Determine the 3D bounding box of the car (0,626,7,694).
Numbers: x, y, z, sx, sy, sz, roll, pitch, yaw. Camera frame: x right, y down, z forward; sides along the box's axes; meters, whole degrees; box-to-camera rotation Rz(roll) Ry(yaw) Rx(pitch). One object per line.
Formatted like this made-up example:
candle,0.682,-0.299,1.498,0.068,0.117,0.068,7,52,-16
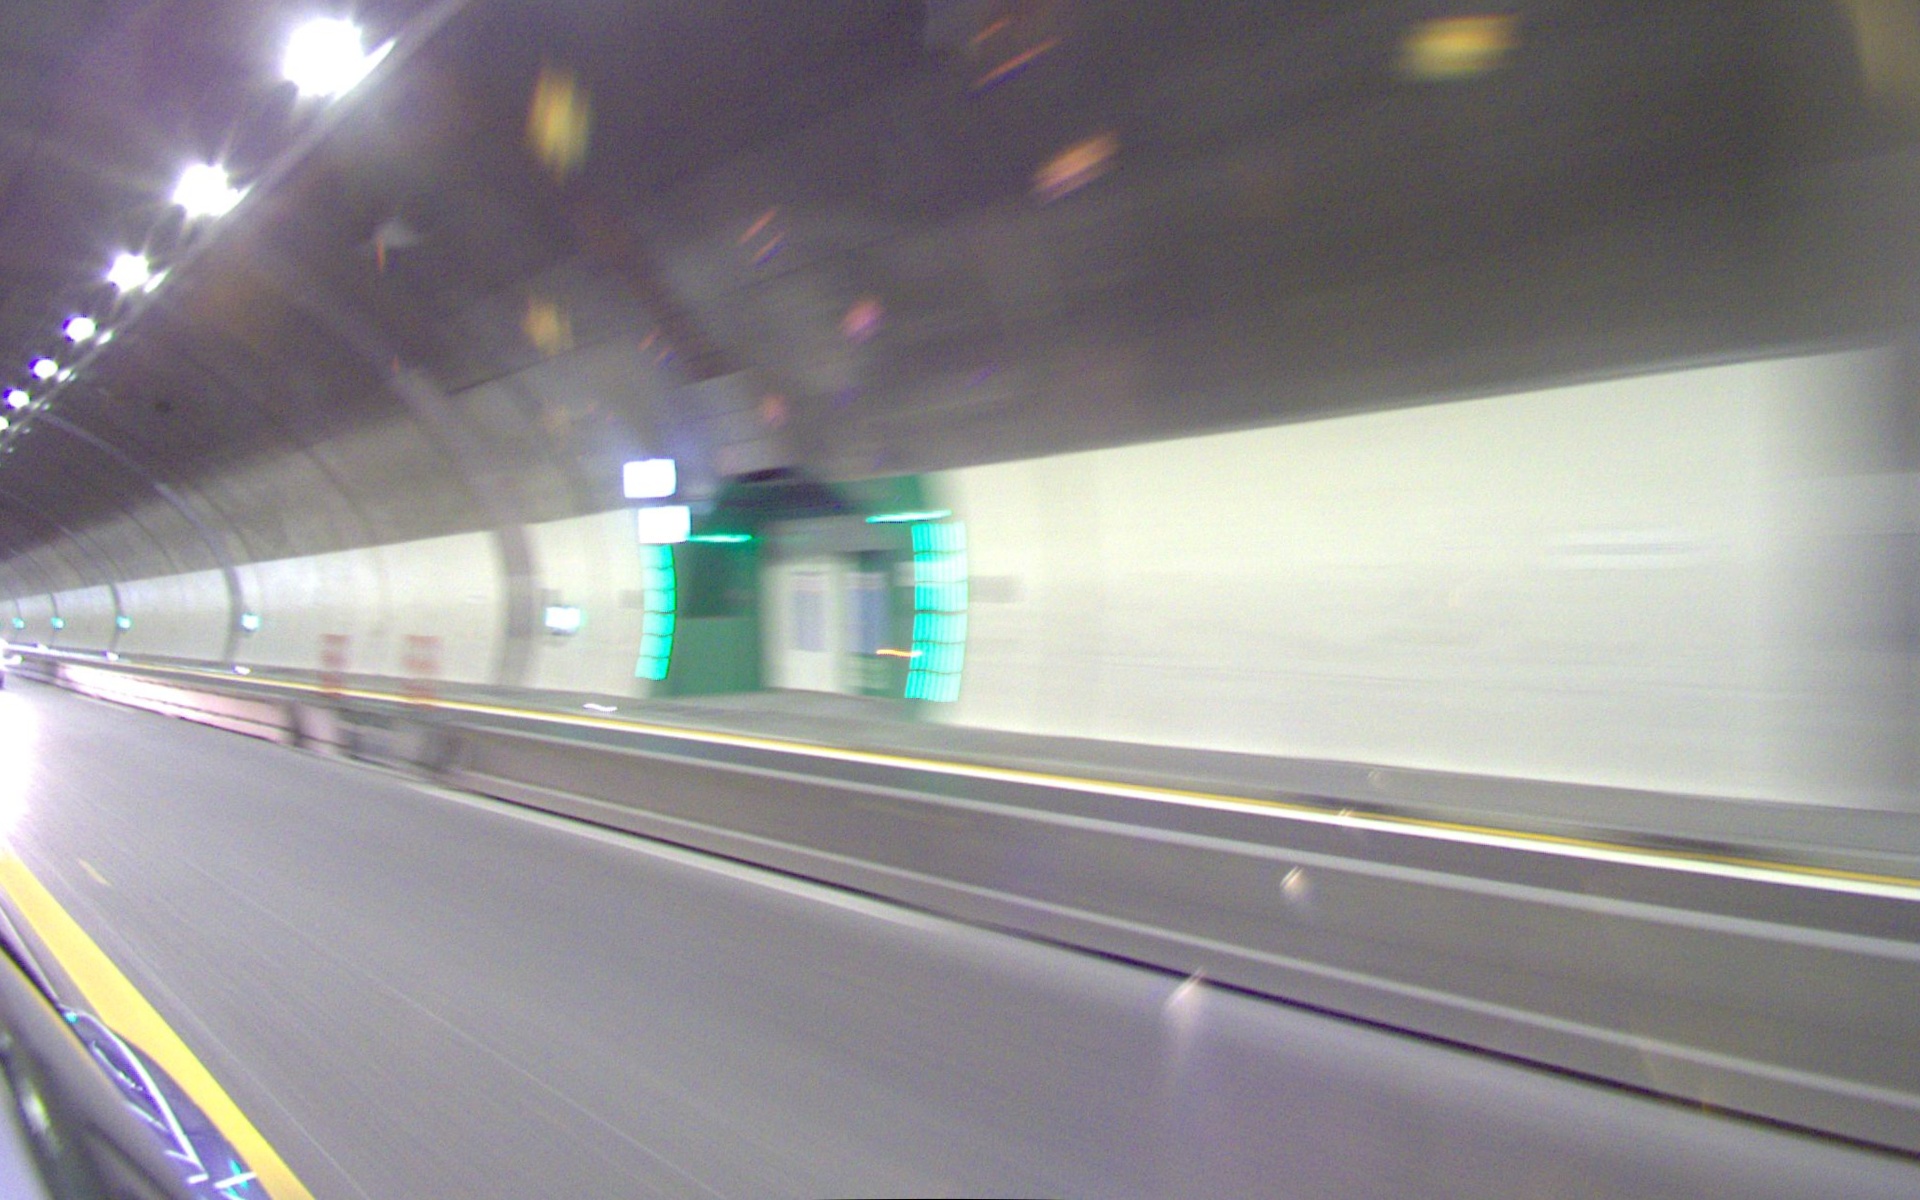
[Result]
car,-23.822,1.397,23.519,4.940,1.496,1.884,-2,-2,40
